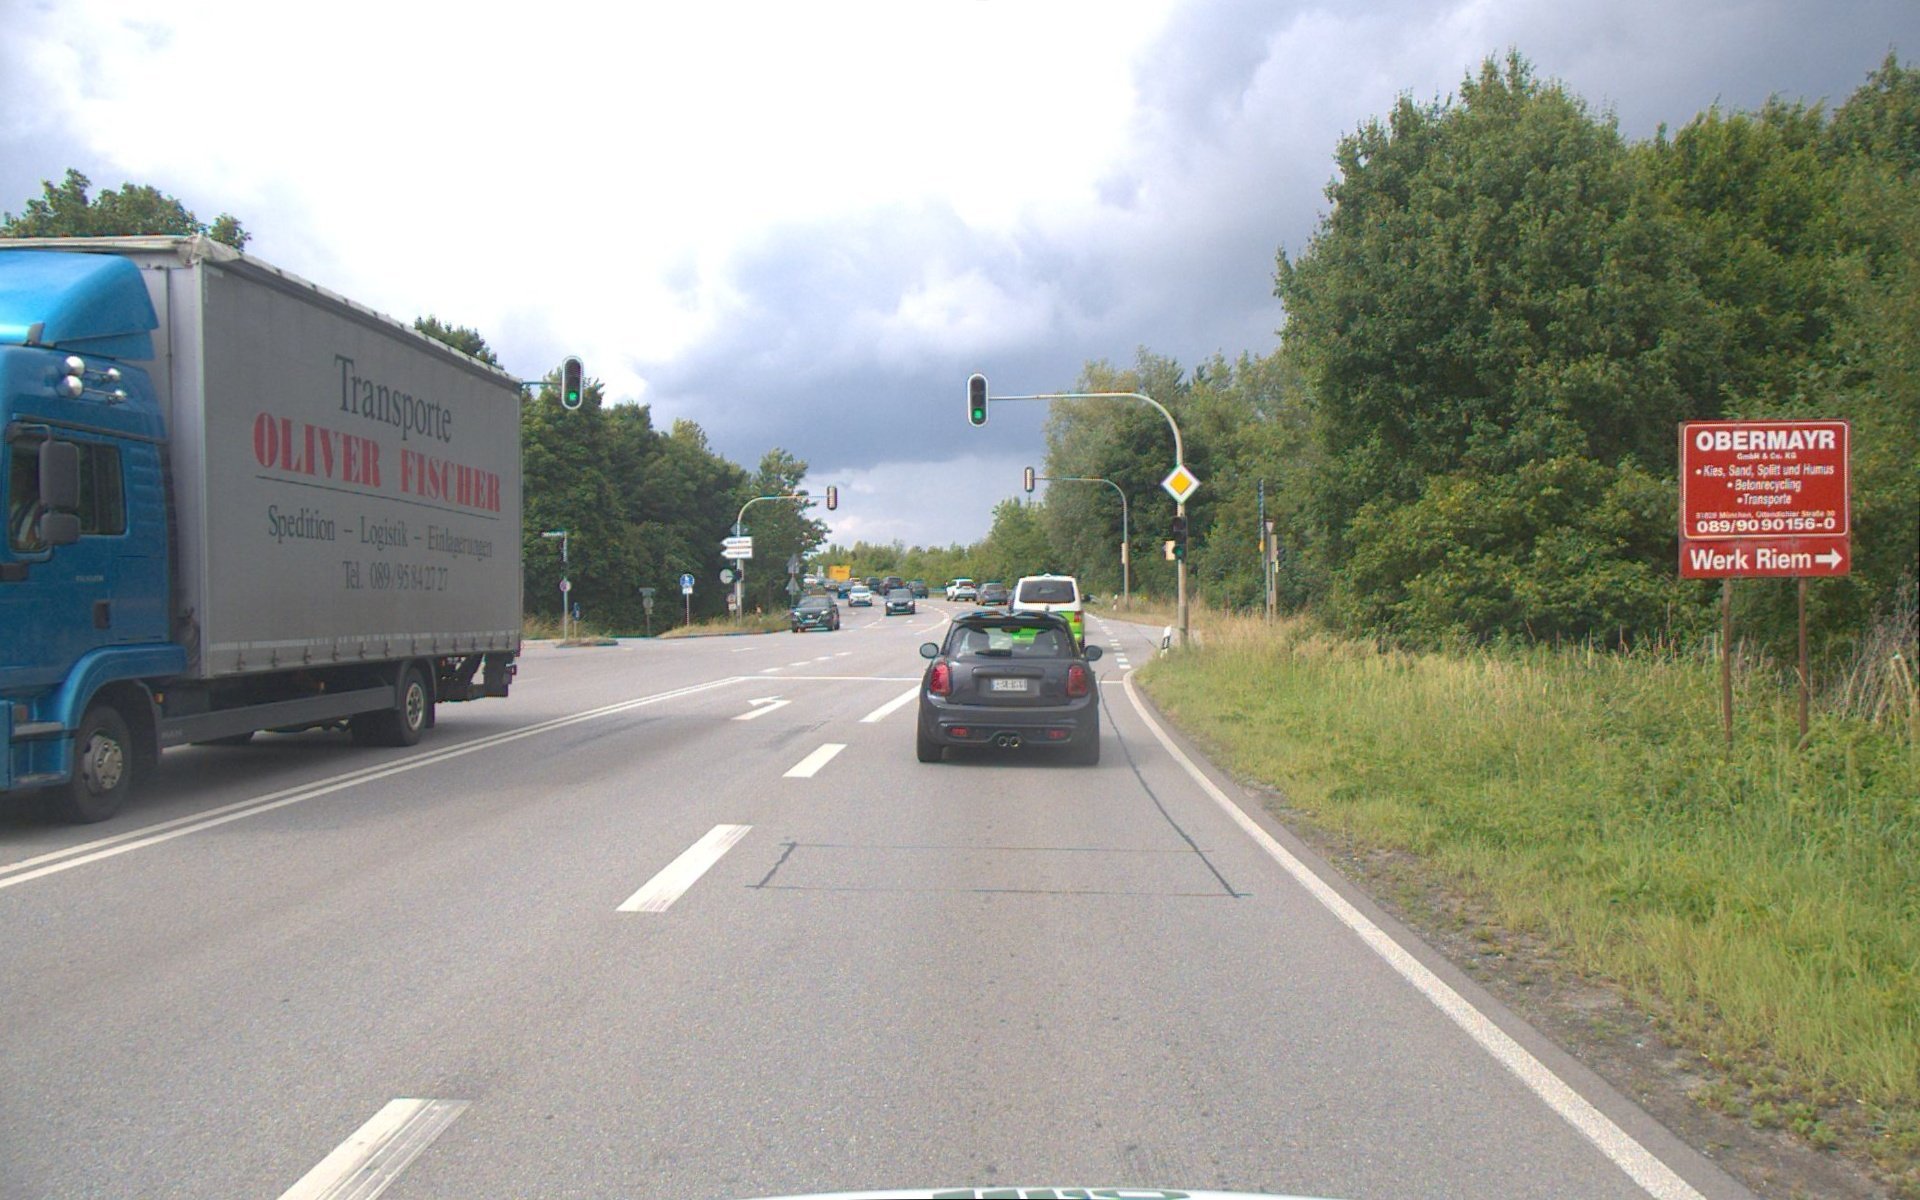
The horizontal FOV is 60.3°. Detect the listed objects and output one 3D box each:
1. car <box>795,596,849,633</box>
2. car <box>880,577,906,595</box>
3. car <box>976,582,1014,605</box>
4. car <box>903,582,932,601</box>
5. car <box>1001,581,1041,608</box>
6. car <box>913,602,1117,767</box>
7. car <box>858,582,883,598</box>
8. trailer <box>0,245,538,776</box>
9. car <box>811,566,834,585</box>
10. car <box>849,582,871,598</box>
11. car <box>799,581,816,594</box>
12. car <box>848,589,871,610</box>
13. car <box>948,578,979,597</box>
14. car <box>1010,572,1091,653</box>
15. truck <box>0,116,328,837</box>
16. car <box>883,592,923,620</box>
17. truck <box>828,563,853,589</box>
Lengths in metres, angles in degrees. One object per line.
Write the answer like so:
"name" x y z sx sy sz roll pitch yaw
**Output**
"car" -6.073 0.620 72.976 1.754 1.601 4.002 0 0 4
"car" -6.617 -1.344 162.817 1.958 1.725 4.474 0 0 -11
"car" 2.352 -0.429 112.416 1.956 1.502 4.478 0 0 -7
"car" -3.869 -0.758 148.683 1.958 1.725 4.474 0 0 -11
"car" 3.476 -0.320 94.981 1.953 1.502 4.484 0 0 -2
"car" 0.502 0.759 16.672 1.807 1.453 3.841 0 0 0
"car" -9.698 -1.062 179.464 1.959 1.725 4.471 0 0 -13
"trailer" -6.358 -0.697 16.374 2.475 4.173 6.736 0 0 1
"car" -13.419 -2.403 161.367 1.956 1.720 3.993 -1 1 -8
"car" -12.003 -1.193 198.717 1.959 1.818 4.471 0 0 -13
"car" -20.059 -1.634 217.419 1.956 1.641 3.994 -1 1 -7
"car" -7.583 -0.038 125.230 1.695 1.531 4.344 -1 0 -3
"car" 0.265 -0.962 130.077 1.955 1.502 4.479 0 0 -6
"car" 2.425 0.274 43.476 1.805 2.021 3.844 0 1 8
"truck" -6.476 -0.712 11.576 2.487 4.168 4.001 0 0 1
"car" -3.465 0.337 100.668 1.750 1.556 4.906 -3 0 5
"truck" -15.586 -3.136 215.485 2.666 2.949 8.754 1 -2 -8
